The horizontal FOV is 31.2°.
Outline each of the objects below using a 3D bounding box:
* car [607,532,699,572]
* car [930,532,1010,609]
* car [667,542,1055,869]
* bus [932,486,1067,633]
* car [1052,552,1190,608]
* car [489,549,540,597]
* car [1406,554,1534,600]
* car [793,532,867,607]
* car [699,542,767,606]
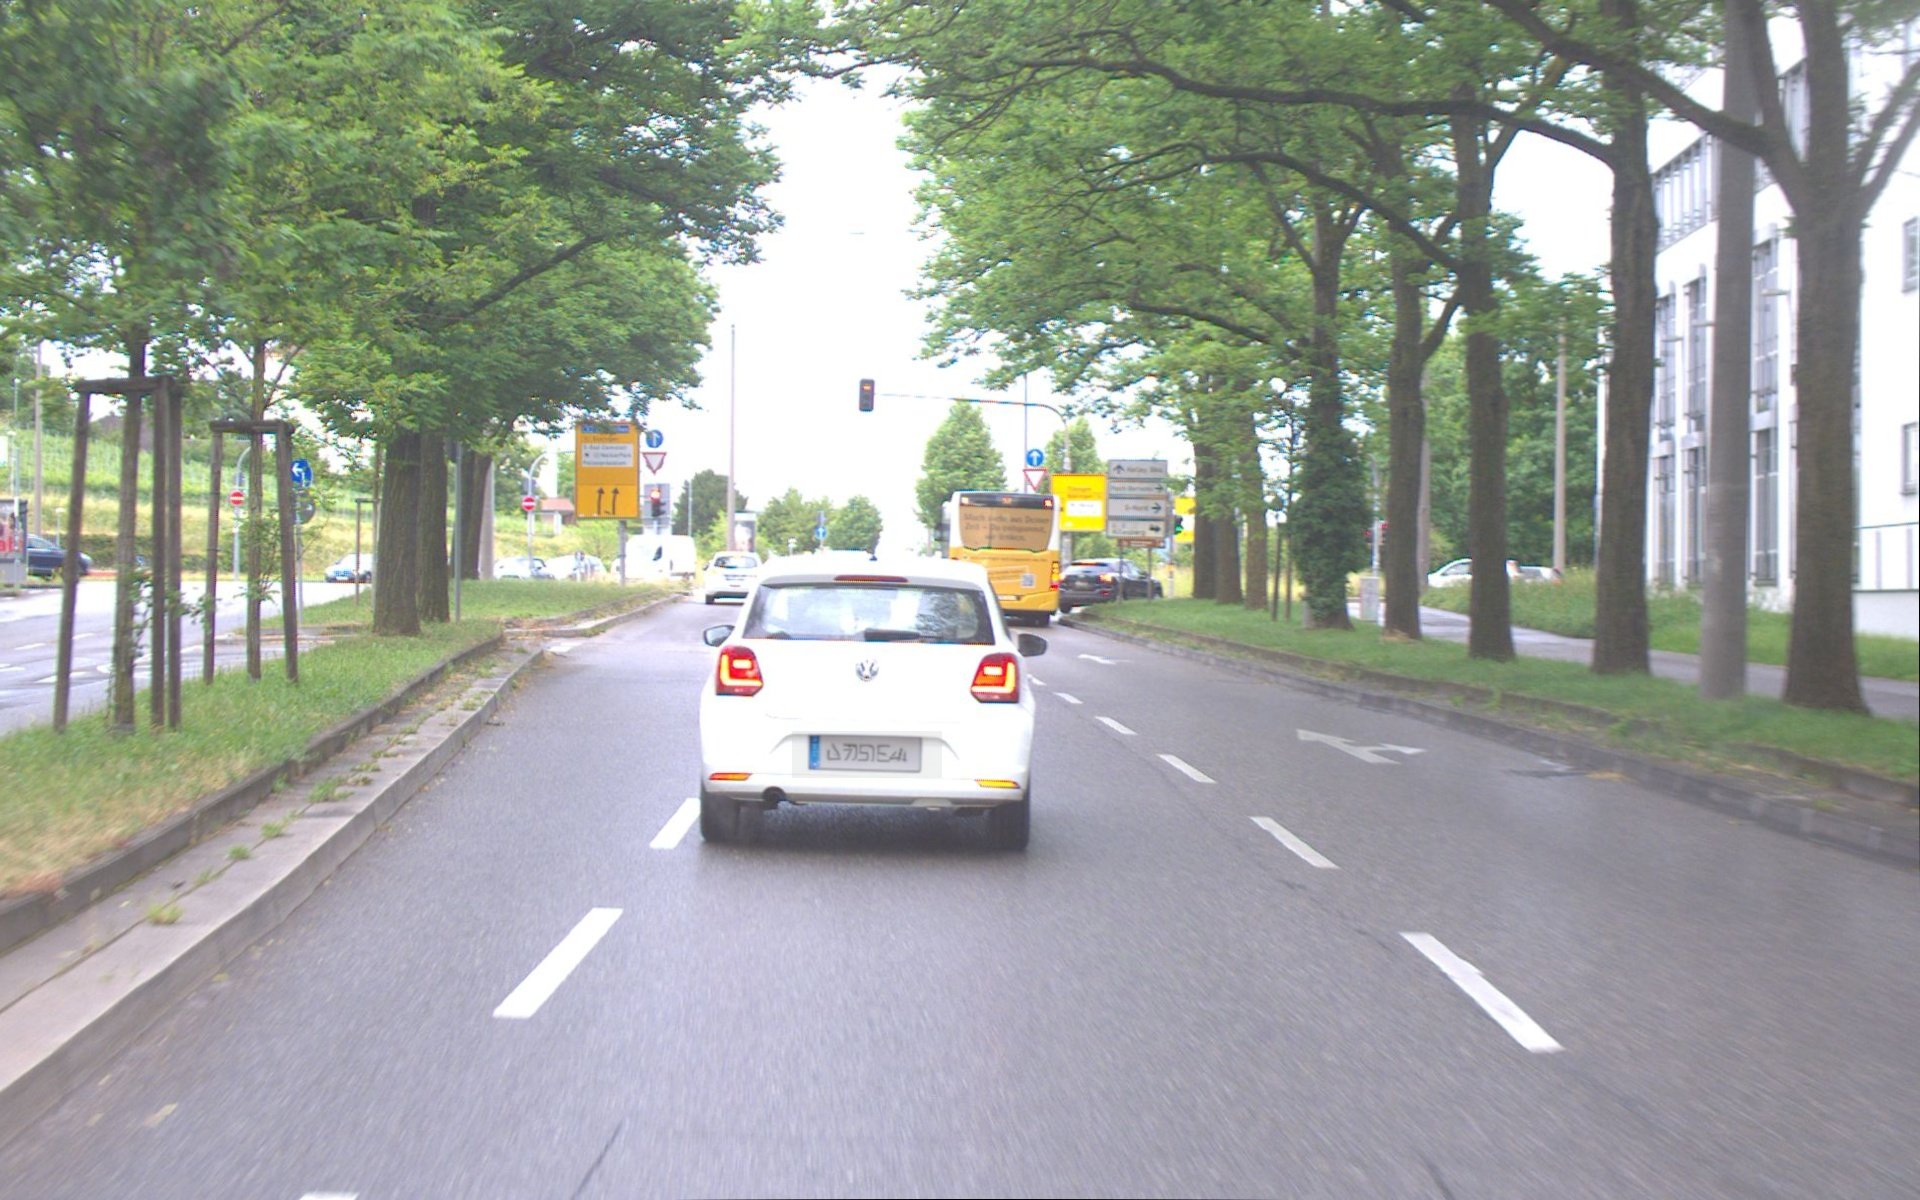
[{"bbox_3d":[-15.602,-2.442,175.012,1.996,2.007,5.702,0,1,26],"label":"car"},{"bbox_3d":[0.244,-0.760,91.453,1.993,2.007,4.000,0,0,-1],"label":"car"},{"bbox_3d":[-0.582,0.472,18.327,1.794,1.497,4.001,2,1,-3],"label":"car"},{"bbox_3d":[0.849,-0.992,82.760,2.828,3.255,10.001,1,1,-1],"label":"bus"},{"bbox_3d":[4.454,-0.532,94.772,1.699,1.510,3.817,0,0,44],"label":"car"},{"bbox_3d":[-19.544,-1.156,150.925,1.993,2.007,4.000,1,-1,-5],"label":"car"},{"bbox_3d":[17.318,-0.805,116.693,3.991,1.531,1.998,0,1,20],"label":"car"},{"bbox_3d":[-3.572,-0.820,95.110,1.993,2.007,4.000,0,0,-1],"label":"car"},{"bbox_3d":[-6.359,-0.715,96.649,1.794,1.735,4.000,0,0,-2],"label":"car"}]
